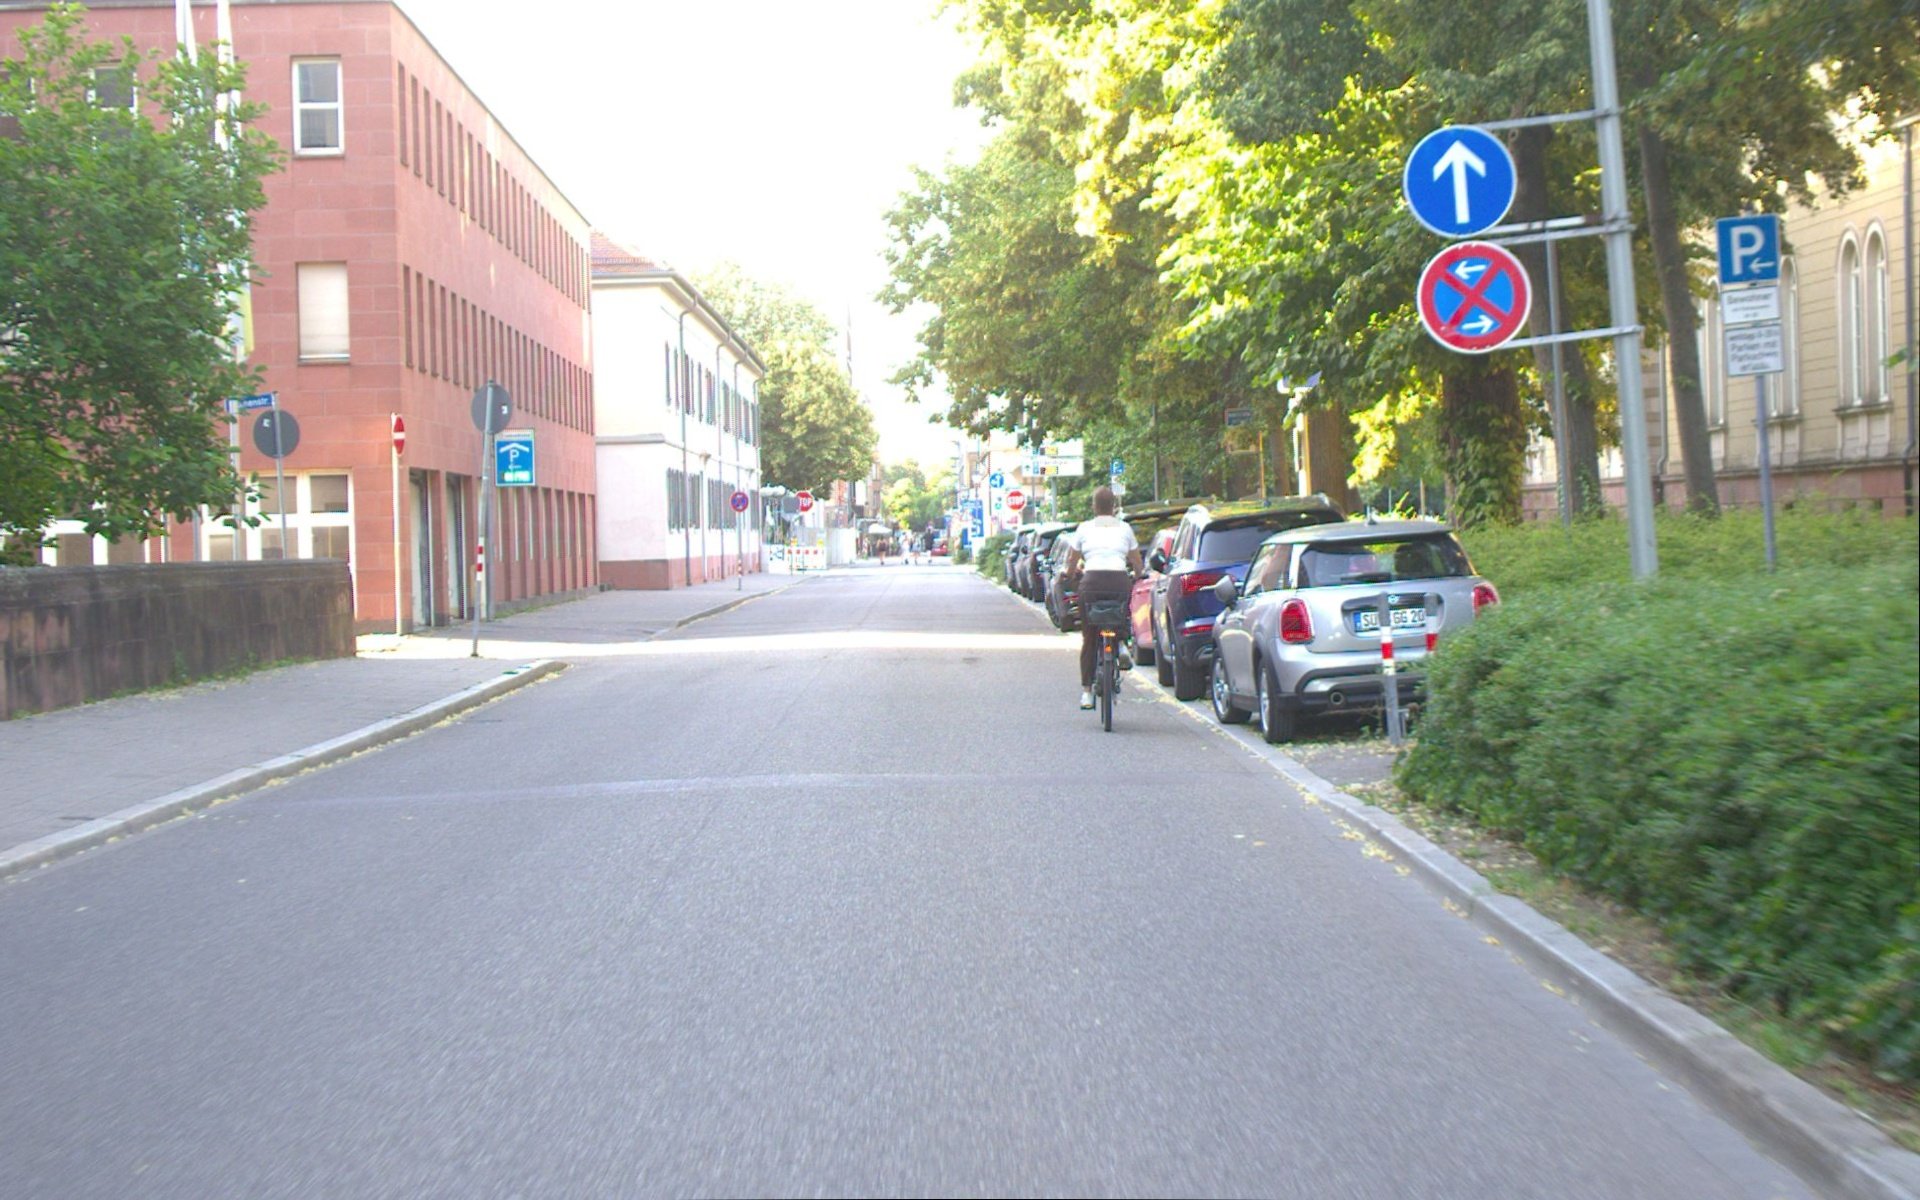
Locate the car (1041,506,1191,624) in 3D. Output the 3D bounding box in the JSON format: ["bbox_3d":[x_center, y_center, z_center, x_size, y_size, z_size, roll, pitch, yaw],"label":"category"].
[{"bbox_3d":[2.394,-0.565,53.729,1.993,1.700,4.000,-2,1,-1],"label":"car"}]

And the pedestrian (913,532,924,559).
[{"bbox_3d":[-2.315,-3.033,190.175,0.534,1.467,0.449,-2,1,-2],"label":"pedestrian"}]

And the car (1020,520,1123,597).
[{"bbox_3d":[2.433,-0.934,75.759,1.993,1.579,4.000,-2,1,-1],"label":"car"}]

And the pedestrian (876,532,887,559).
[{"bbox_3d":[-4.389,-3.057,192.720,0.534,1.467,0.449,-2,1,-2],"label":"pedestrian"}]

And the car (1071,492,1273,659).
[{"bbox_3d":[2.456,-0.316,40.749,1.993,1.809,4.000,-2,1,-1],"label":"car"}]

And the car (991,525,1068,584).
[{"bbox_3d":[2.012,-1.347,100.483,1.993,1.623,4.000,-2,1,-1],"label":"car"}]

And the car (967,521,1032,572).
[{"bbox_3d":[1.526,-2.098,134.118,2.281,1.847,4.910,-2,1,-1],"label":"car"}]

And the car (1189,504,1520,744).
[{"bbox_3d":[2.682,0.145,24.136,1.685,1.442,3.672,-4,0,-2],"label":"car"}]

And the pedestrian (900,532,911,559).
[{"bbox_3d":[-3.026,-3.014,190.520,0.534,1.467,0.449,-2,1,-2],"label":"pedestrian"}]

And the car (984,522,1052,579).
[{"bbox_3d":[1.869,-1.618,112.031,1.993,1.743,4.000,-2,1,-1],"label":"car"}]

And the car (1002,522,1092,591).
[{"bbox_3d":[2.146,-1.102,85.895,1.993,1.623,4.000,-2,1,-1],"label":"car"}]

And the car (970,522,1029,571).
[{"bbox_3d":[1.847,-2.529,161.983,2.493,2.188,4.910,-2,1,-1],"label":"car"}]

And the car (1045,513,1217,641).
[{"bbox_3d":[2.277,-0.339,46.767,1.993,1.590,4.000,-2,1,-1],"label":"car"}]

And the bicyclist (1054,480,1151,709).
[{"bbox_3d":[1.047,-0.049,25.387,0.639,1.661,0.843,0,1,-2],"label":"bicyclist"}]

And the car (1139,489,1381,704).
[{"bbox_3d":[2.579,-0.081,30.470,1.715,1.706,4.473,-2,1,0],"label":"car"}]

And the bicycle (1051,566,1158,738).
[{"bbox_3d":[1.048,0.359,25.274,0.638,1.189,1.876,0,1,-2],"label":"bicycle"}]

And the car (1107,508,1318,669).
[{"bbox_3d":[2.591,-0.163,36.047,1.715,1.532,4.049,-2,1,-2],"label":"car"}]
